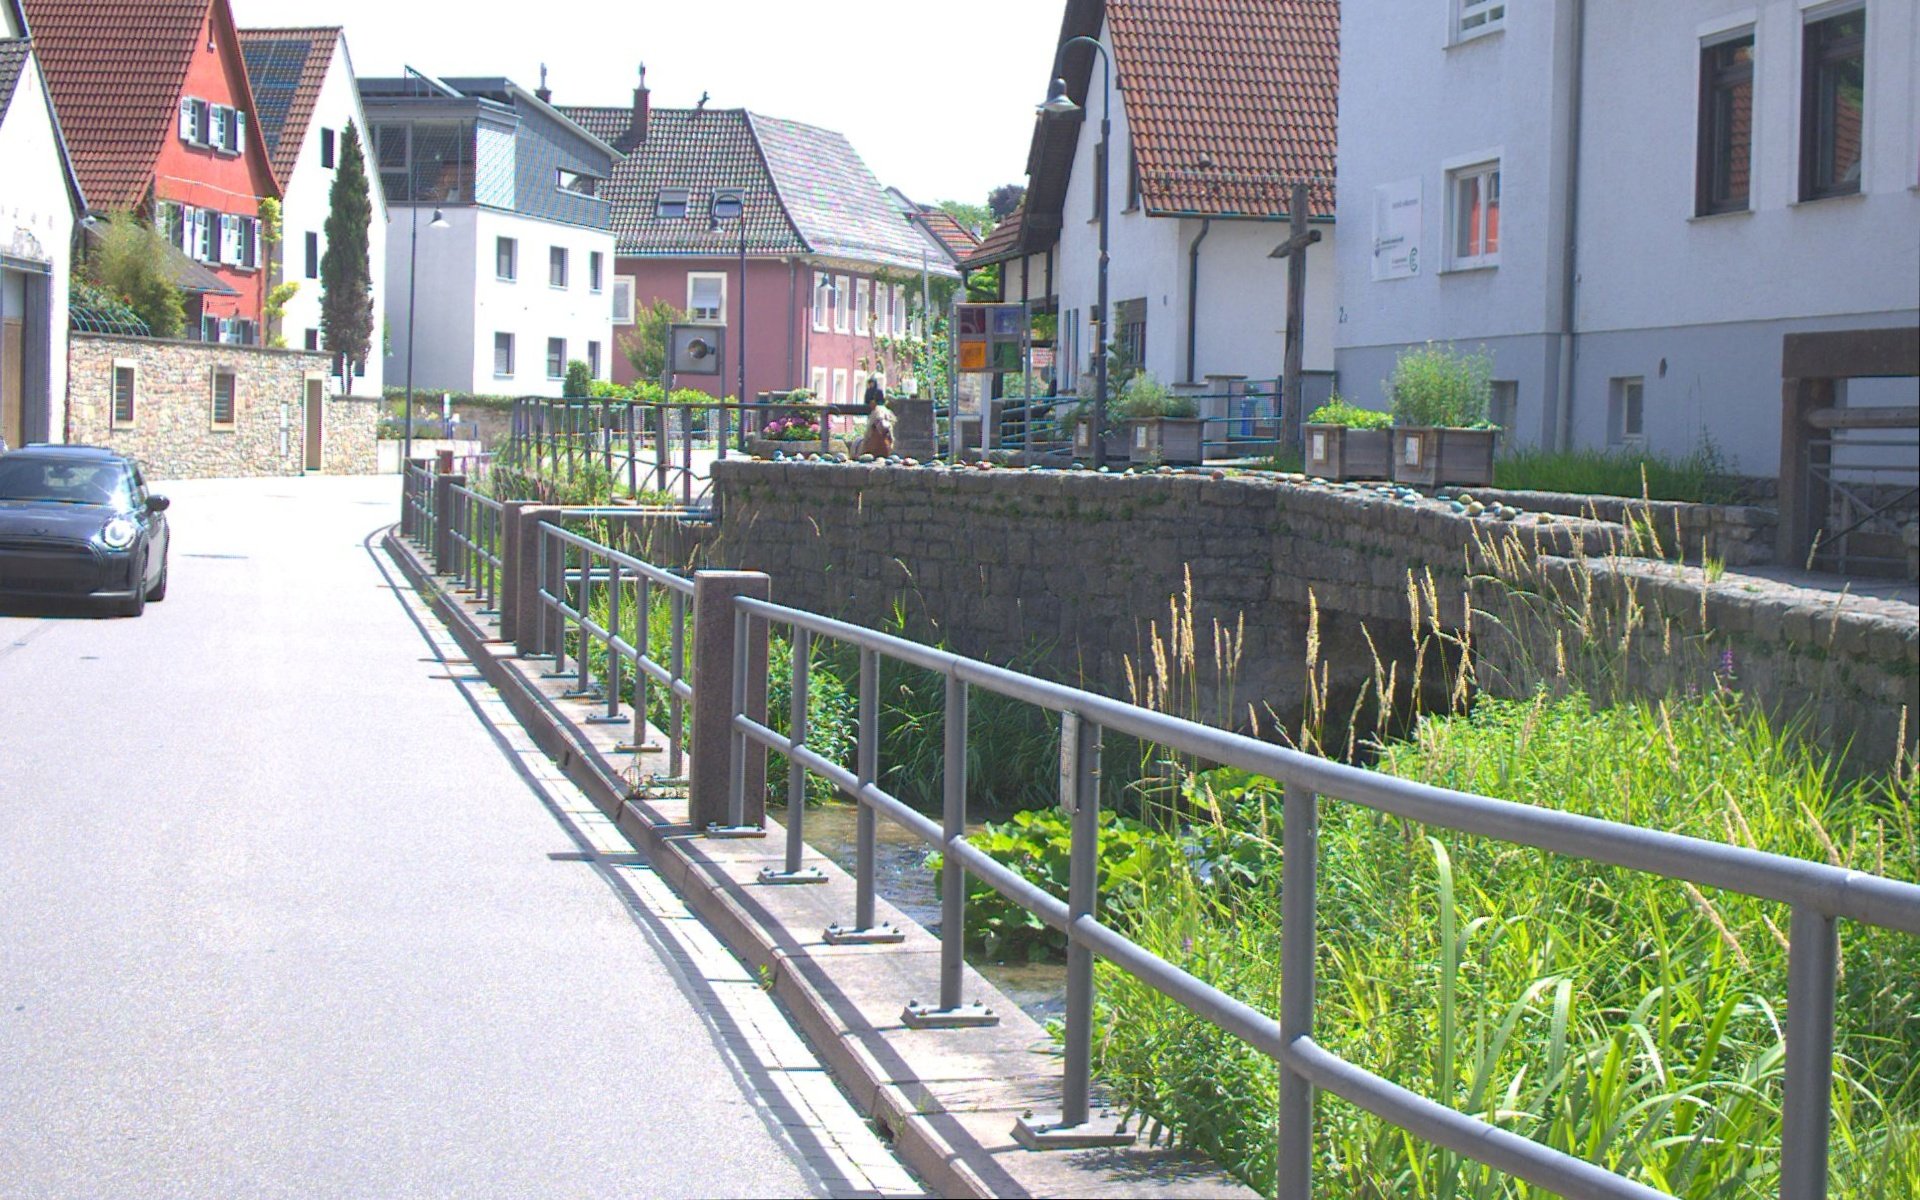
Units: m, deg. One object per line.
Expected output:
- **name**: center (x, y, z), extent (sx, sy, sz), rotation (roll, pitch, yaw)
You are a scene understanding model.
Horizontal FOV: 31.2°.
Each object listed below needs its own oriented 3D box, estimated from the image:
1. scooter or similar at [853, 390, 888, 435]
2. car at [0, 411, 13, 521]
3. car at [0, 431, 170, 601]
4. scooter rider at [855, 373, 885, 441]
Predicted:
- **scooter or similar**: center (-2.326, -4.866, 89.187), extent (0.641, 1.138, 1.812), rotation (0, 3, -11)
- **car**: center (-14.234, -1.844, 47.573), extent (1.716, 1.524, 3.858), rotation (0, 4, -8)
- **car**: center (-8.198, -0.805, 31.756), extent (1.698, 1.460, 4.437), rotation (0, 2, -12)
- **scooter rider**: center (-2.332, -5.006, 89.215), extent (0.641, 1.725, 0.554), rotation (2, 2, -11)
